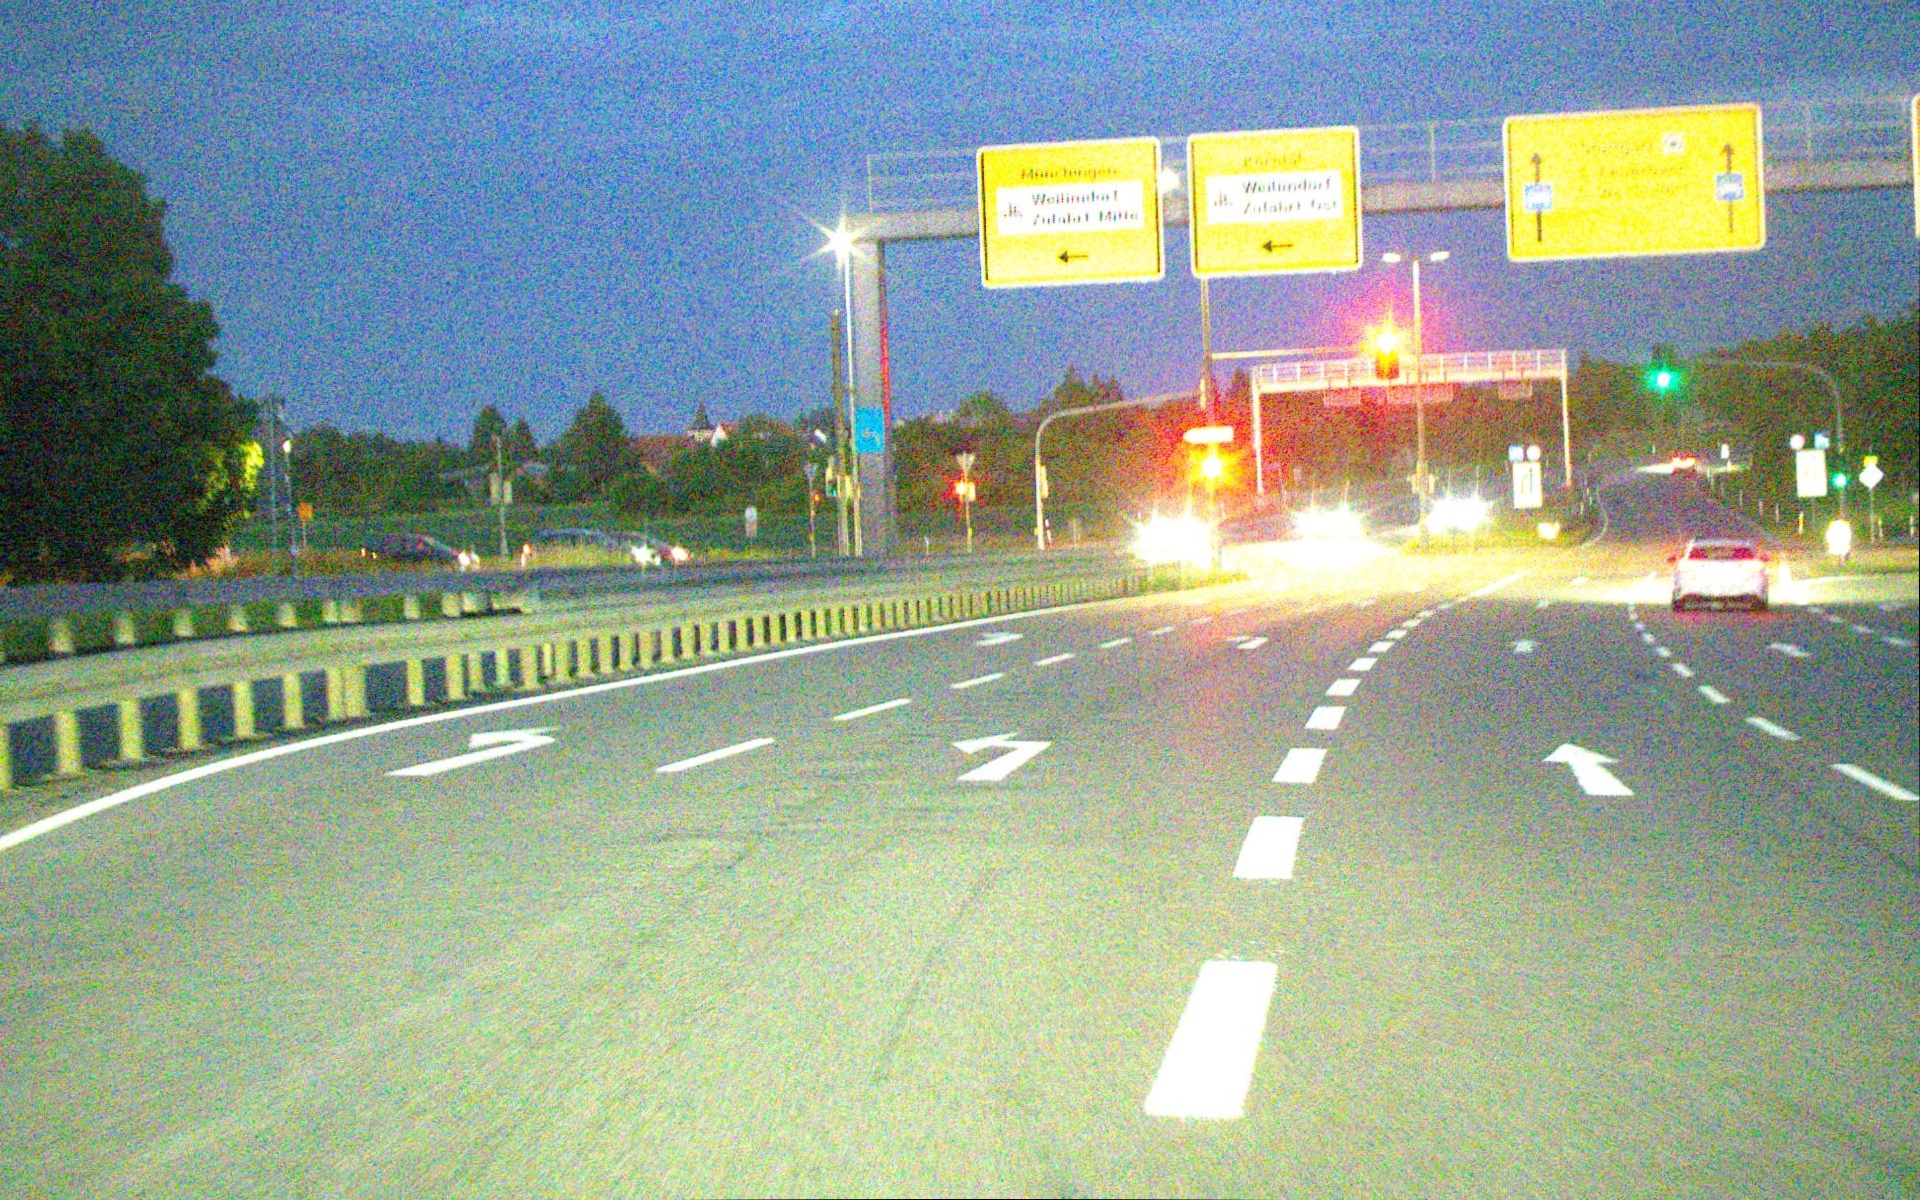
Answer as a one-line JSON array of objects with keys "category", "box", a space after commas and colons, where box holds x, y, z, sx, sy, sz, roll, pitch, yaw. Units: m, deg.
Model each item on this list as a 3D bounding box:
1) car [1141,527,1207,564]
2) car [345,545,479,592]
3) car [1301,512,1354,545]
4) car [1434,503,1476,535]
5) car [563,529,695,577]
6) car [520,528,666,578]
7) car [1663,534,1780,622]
[{"category": "car", "box": [8.670, -2.207, 138.910, 1.994, 1.421, 4.530, 0, 2, 12]}, {"category": "car", "box": [-17.977, -1.031, 112.848, 3.988, 1.468, 1.729, -1, 1, 7]}, {"category": "car", "box": [16.946, -3.291, 158.411, 1.994, 1.476, 4.680, 0, 2, 12]}, {"category": "car", "box": [26.470, -4.331, 183.731, 1.994, 1.692, 3.998, 0, 2, 12]}, {"category": "car", "box": [-11.001, -1.563, 114.472, 4.042, 1.532, 1.729, -1, 1, 10]}, {"category": "car", "box": [-11.806, -1.530, 110.687, 4.315, 1.532, 1.729, -1, 1, 12]}, {"category": "car", "box": [14.820, -0.443, 66.797, 2.009, 1.605, 3.842, 1, 1, 15]}]
